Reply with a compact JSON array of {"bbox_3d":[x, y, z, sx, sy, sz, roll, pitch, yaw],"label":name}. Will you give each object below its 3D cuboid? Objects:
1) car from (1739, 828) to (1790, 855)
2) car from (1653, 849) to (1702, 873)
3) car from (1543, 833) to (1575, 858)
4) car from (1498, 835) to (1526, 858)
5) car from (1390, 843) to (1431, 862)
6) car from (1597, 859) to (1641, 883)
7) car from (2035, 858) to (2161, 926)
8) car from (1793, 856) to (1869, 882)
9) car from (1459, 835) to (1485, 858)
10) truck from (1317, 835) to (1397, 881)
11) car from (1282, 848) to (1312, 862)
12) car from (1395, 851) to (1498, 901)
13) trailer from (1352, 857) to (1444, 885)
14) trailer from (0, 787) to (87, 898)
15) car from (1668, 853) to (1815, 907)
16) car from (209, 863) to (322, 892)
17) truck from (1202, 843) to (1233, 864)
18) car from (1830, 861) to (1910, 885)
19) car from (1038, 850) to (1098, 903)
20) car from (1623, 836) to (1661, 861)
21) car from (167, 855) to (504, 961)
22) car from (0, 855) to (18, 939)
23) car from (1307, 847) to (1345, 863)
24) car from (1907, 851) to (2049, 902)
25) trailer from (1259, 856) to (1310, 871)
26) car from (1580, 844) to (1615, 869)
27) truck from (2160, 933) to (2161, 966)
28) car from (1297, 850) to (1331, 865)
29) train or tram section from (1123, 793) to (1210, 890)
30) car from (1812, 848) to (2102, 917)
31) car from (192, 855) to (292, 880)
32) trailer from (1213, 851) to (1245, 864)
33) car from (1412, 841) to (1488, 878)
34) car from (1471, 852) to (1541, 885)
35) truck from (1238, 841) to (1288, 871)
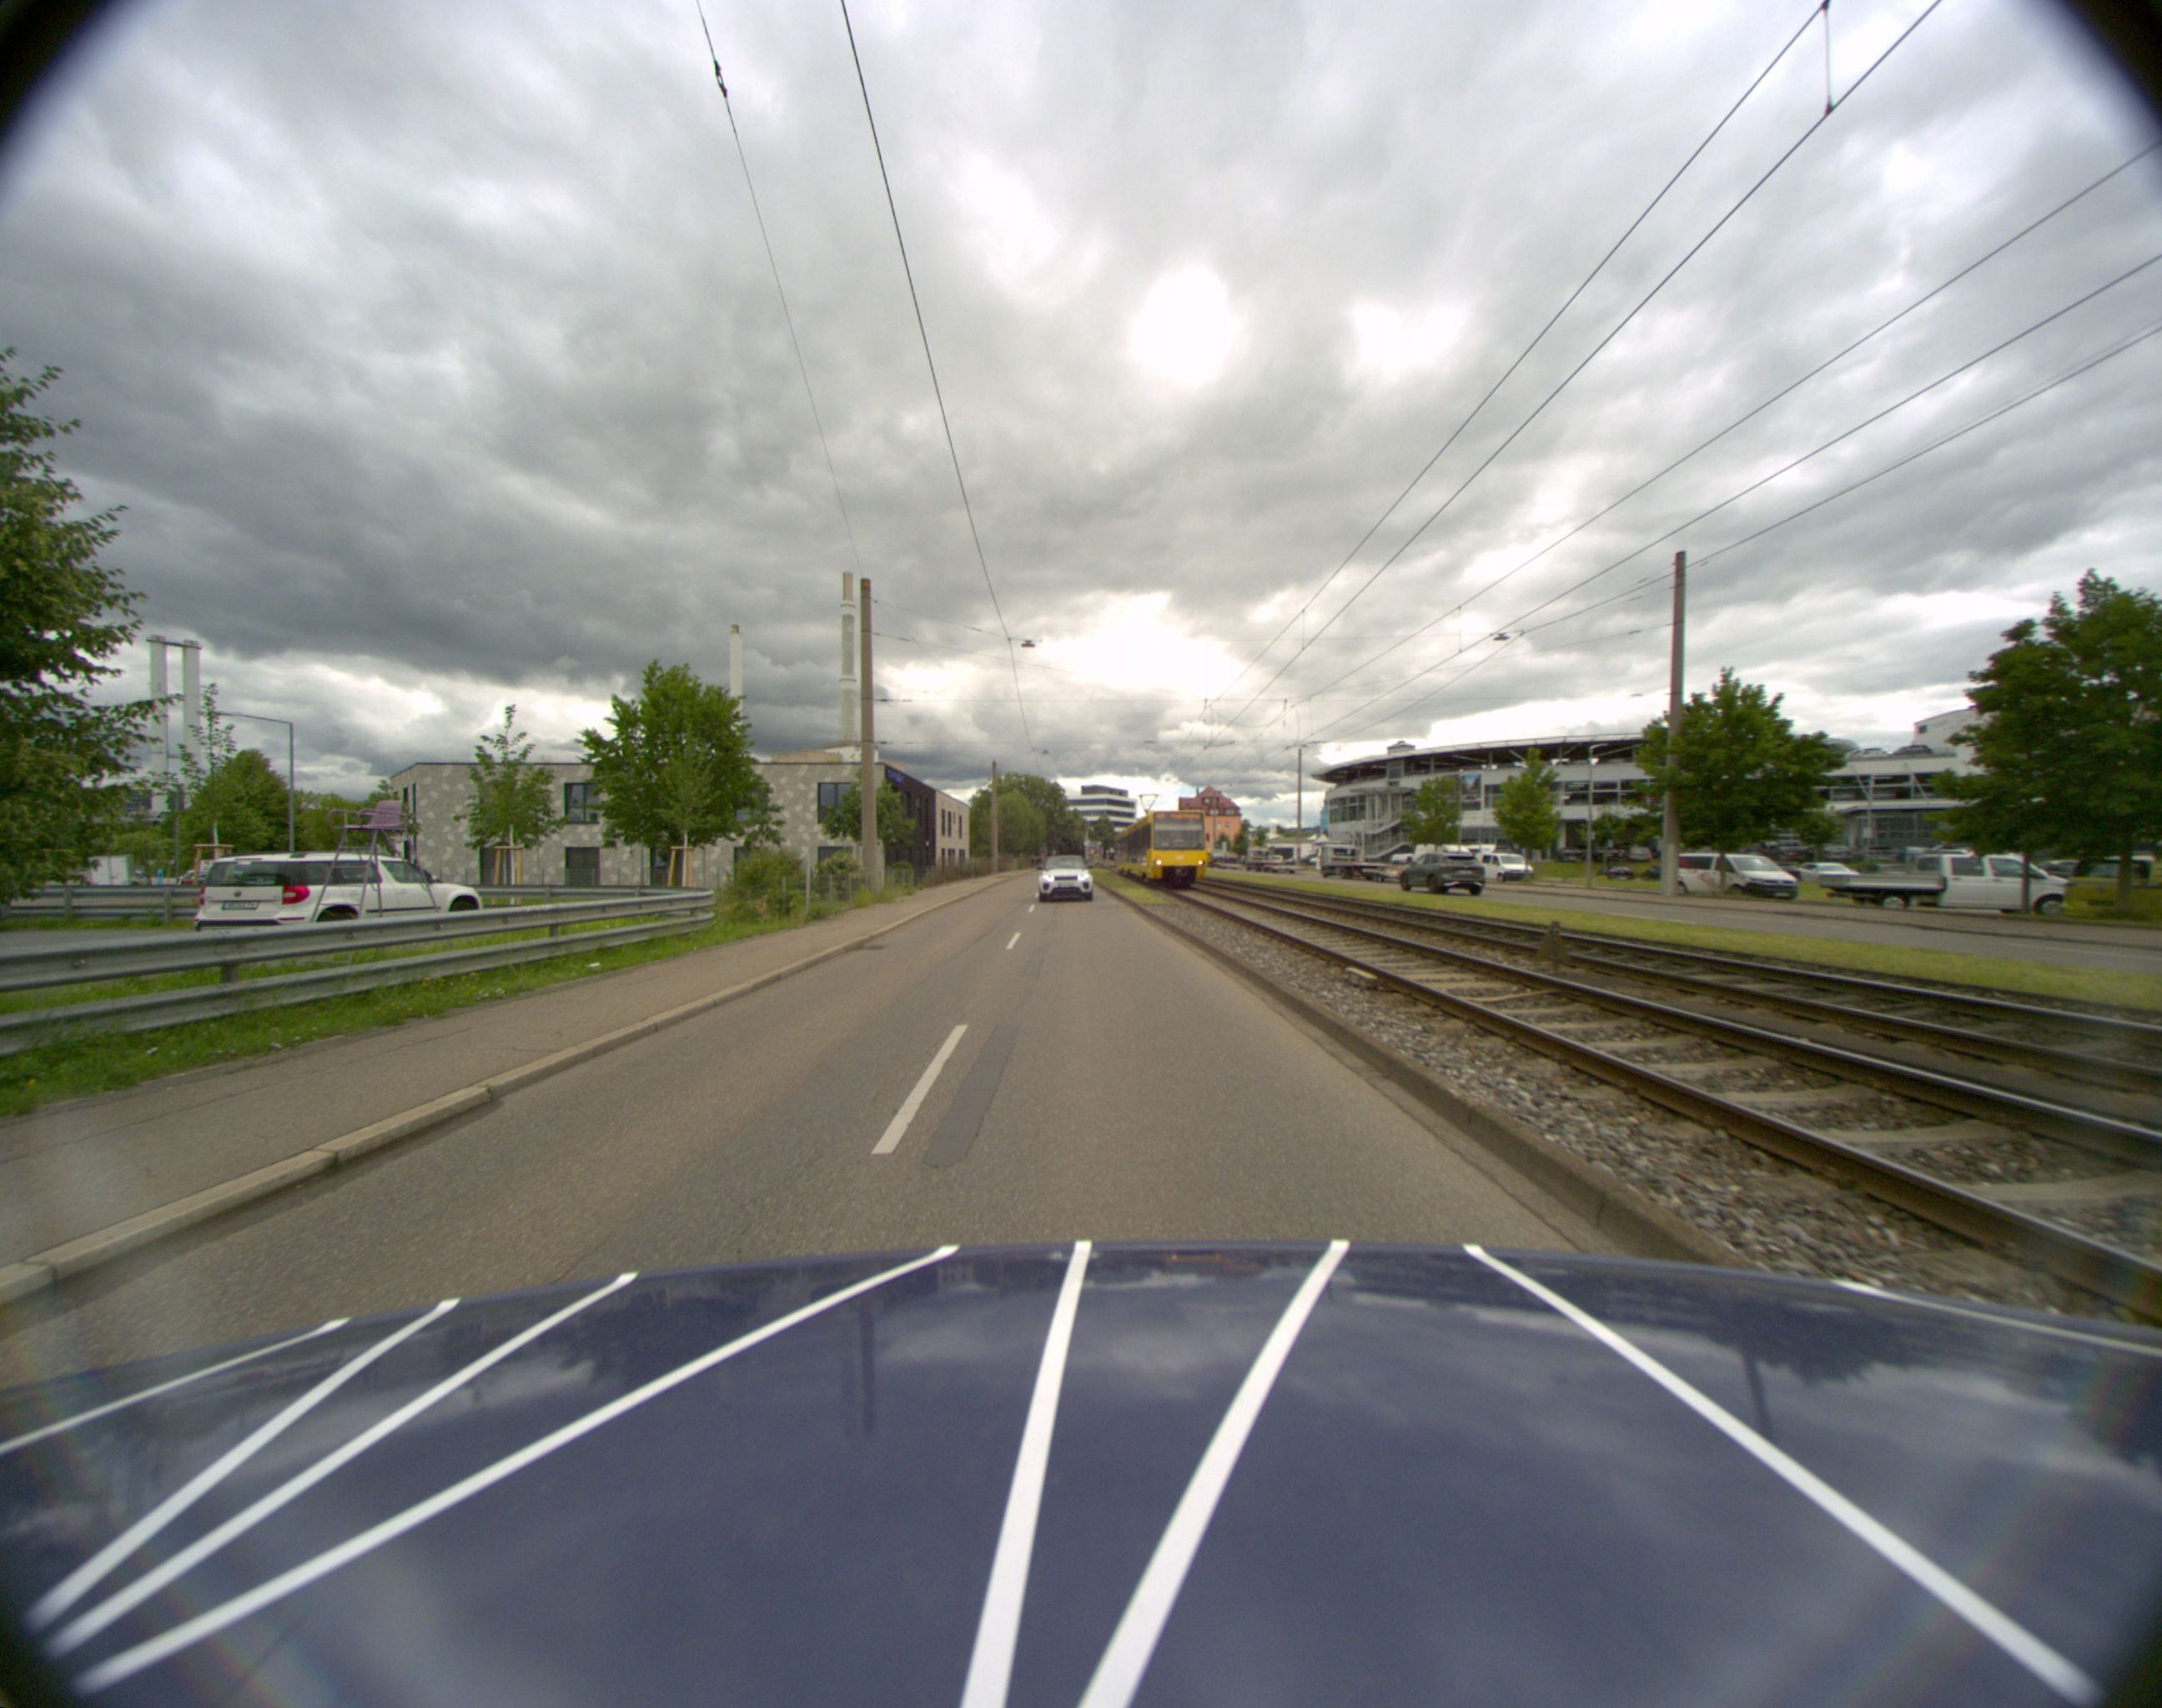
[{"bbox_3d":[52.964,-0.954,58.960,1.995,2.002,4.007,0,1,28],"label":"car"},{"bbox_3d":[40.906,0.470,52.178,1.673,1.608,3.722,0,0,22],"label":"car"},{"bbox_3d":[40.854,-0.703,64.970,1.995,2.002,4.007,0,0,28],"label":"car"},{"bbox_3d":[37.931,-0.631,66.970,1.995,2.002,4.007,0,0,28],"label":"car"},{"bbox_3d":[34.757,-0.158,80.166,4.007,2.002,1.995,0,0,-32],"label":"car"},{"bbox_3d":[38.635,1.217,54.628,1.673,1.608,3.721,0,0,21],"label":"car"},{"bbox_3d":[27.452,0.902,18.868,4.344,1.608,2.156,0,0,10],"label":"car"},{"bbox_3d":[47.855,0.937,48.564,1.674,1.608,3.719,0,0,11],"label":"car"},{"bbox_3d":[35.122,-0.624,68.230,1.995,2.002,4.007,0,0,28],"label":"car"},{"bbox_3d":[19.538,0.251,54.500,2.870,2.964,8.455,2,0,2],"label":"truck"},{"bbox_3d":[30.386,0.137,106.894,3.990,1.936,2.003,0,0,21],"label":"car"},{"bbox_3d":[14.498,0.790,30.467,1.998,1.729,4.534,2,1,2],"label":"car"},{"bbox_3d":[19.256,0.982,46.656,2.764,1.486,7.226,2,0,2],"label":"trailer"},{"bbox_3d":[-40.865,-0.458,25.822,2.947,4.047,8.695,0,-1,-2],"label":"trailer"},{"bbox_3d":[26.942,0.975,31.266,1.998,2.002,4.861,0,1,3],"label":"car"},{"bbox_3d":[-48.265,1.361,45.037,1.994,1.575,4.385,0,0,38],"label":"car"},{"bbox_3d":[19.807,-0.057,110.678,3.057,2.843,9.067,0,0,1],"label":"truck"},{"bbox_3d":[49.988,1.176,48.255,1.674,1.428,3.719,0,0,11],"label":"car"},{"bbox_3d":[-0.418,0.771,27.859,1.998,1.718,4.000,-2,0,0],"label":"car"},{"bbox_3d":[47.375,-0.464,64.251,1.995,2.002,4.007,0,1,28],"label":"car"},{"bbox_3d":[-13.130,0.849,13.885,1.754,1.564,4.430,-2,0,0],"label":"car"},{"bbox_3d":[-22.987,0.874,13.353,1.916,1.710,4.689,0,0,3],"label":"car"},{"bbox_3d":[30.061,0.086,93.265,4.001,1.936,1.998,0,0,-13],"label":"car"},{"bbox_3d":[38.840,0.893,33.125,1.995,2.002,5.142,0,1,25],"label":"car"},{"bbox_3d":[19.742,0.864,74.196,3.056,1.270,7.006,2,0,0],"label":"trailer"},{"bbox_3d":[43.351,0.198,63.908,1.995,2.002,4.007,0,1,28],"label":"car"},{"bbox_3d":[16.904,0.343,6.471,2.762,2.726,9.222,2,0,5],"label":"truck"},{"bbox_3d":[30.259,0.466,98.779,3.993,1.936,2.002,0,0,12],"label":"car"},{"bbox_3d":[4.085,-0.639,40.434,3.396,3.984,16.945,-2,1,3],"label":"train or tram section"},{"bbox_3d":[27.762,0.812,24.450,5.699,1.996,2.148,1,1,26],"label":"car"},{"bbox_3d":[-56.737,0.875,51.461,1.994,1.575,4.385,0,0,38],"label":"car"},{"bbox_3d":[19.806,0.465,102.350,2.985,1.678,7.568,0,0,1],"label":"trailer"},{"bbox_3d":[27.128,0.401,56.103,2.000,2.546,5.857,0,0,-10],"label":"car"},{"bbox_3d":[27.716,0.897,49.785,1.998,2.002,4.808,0,0,1],"label":"car"},{"bbox_3d":[19.530,0.203,82.180,3.115,2.904,8.961,2,0,0],"label":"truck"}]
